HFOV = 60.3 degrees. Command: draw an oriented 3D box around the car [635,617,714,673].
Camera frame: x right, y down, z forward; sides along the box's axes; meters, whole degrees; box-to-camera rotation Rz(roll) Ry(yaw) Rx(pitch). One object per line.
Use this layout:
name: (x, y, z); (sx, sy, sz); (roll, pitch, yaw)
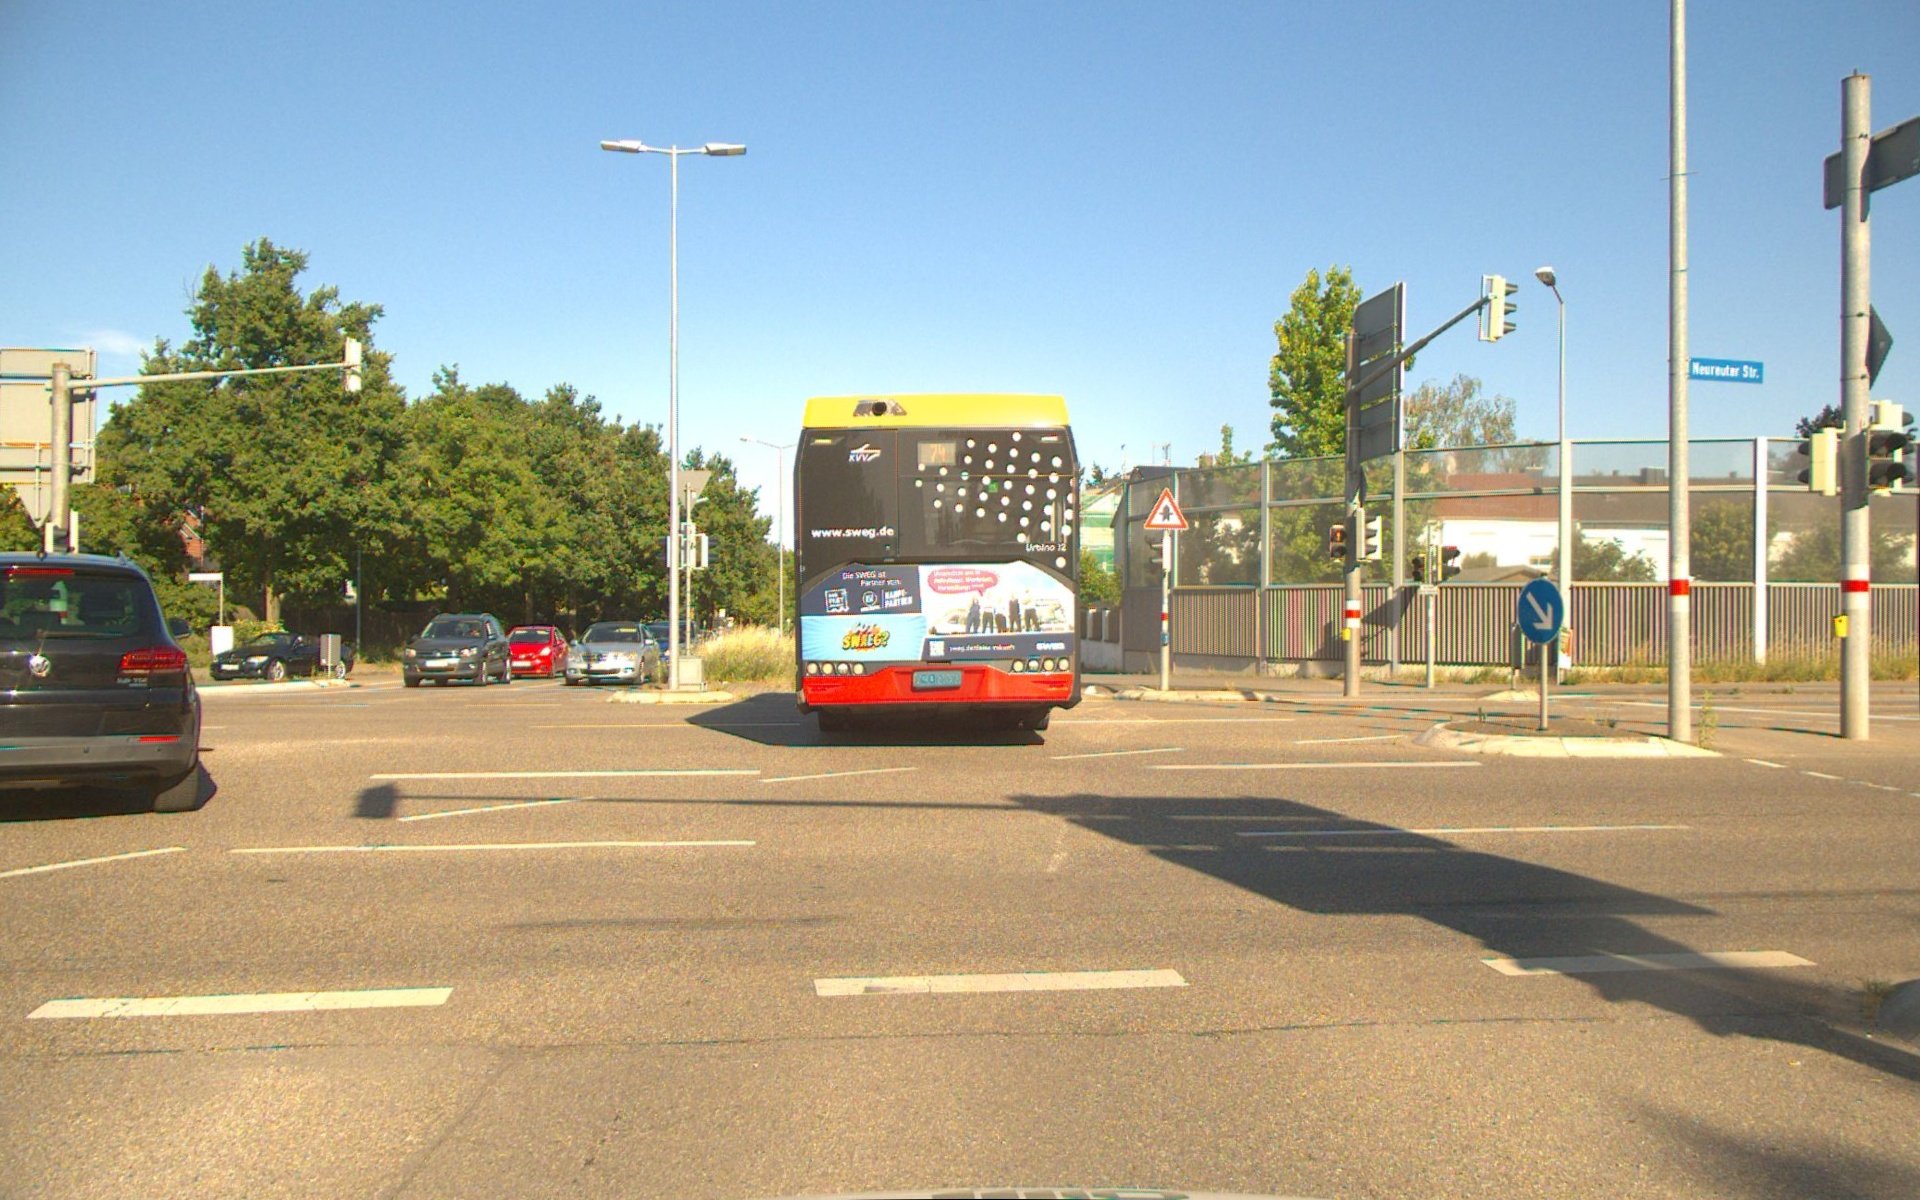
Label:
car: (-8.871, 1.377, 51.708); (1.954, 1.644, 4.526); (0, -1, -4)

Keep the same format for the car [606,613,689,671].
car: (-8.479, 1.117, 45.205); (1.712, 1.509, 3.885); (0, -1, -3)

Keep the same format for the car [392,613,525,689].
car: (-11.719, 1.164, 38.964); (1.954, 1.673, 4.527); (0, -1, -3)

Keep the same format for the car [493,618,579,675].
car: (-11.784, 1.268, 46.143); (1.612, 1.509, 3.711); (0, -1, -3)

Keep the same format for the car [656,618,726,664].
car: (-9.212, 1.382, 56.932); (1.954, 1.476, 4.396); (0, 0, -4)

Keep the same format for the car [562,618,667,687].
car: (-8.122, 1.215, 39.244); (1.757, 1.532, 4.527); (0, -1, -3)

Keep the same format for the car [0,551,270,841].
car: (-5.956, 0.503, 11.374); (1.798, 1.655, 3.982); (1, 1, -17)

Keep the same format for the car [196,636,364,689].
car: (-18.190, 1.698, 44.490); (1.997, 1.332, 4.686); (-1, -3, 9)

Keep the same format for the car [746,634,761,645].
car: (-29.456, 5.586, 236.005); (1.898, 1.569, 3.991); (1, -1, -9)

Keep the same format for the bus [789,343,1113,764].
bus: (-0.331, -0.426, 20.125); (2.702, 3.518, 12.392); (-1, 0, -2)

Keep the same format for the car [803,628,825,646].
car: (-14.851, 3.784, 168.381); (1.898, 1.773, 3.991); (1, -1, -9)
